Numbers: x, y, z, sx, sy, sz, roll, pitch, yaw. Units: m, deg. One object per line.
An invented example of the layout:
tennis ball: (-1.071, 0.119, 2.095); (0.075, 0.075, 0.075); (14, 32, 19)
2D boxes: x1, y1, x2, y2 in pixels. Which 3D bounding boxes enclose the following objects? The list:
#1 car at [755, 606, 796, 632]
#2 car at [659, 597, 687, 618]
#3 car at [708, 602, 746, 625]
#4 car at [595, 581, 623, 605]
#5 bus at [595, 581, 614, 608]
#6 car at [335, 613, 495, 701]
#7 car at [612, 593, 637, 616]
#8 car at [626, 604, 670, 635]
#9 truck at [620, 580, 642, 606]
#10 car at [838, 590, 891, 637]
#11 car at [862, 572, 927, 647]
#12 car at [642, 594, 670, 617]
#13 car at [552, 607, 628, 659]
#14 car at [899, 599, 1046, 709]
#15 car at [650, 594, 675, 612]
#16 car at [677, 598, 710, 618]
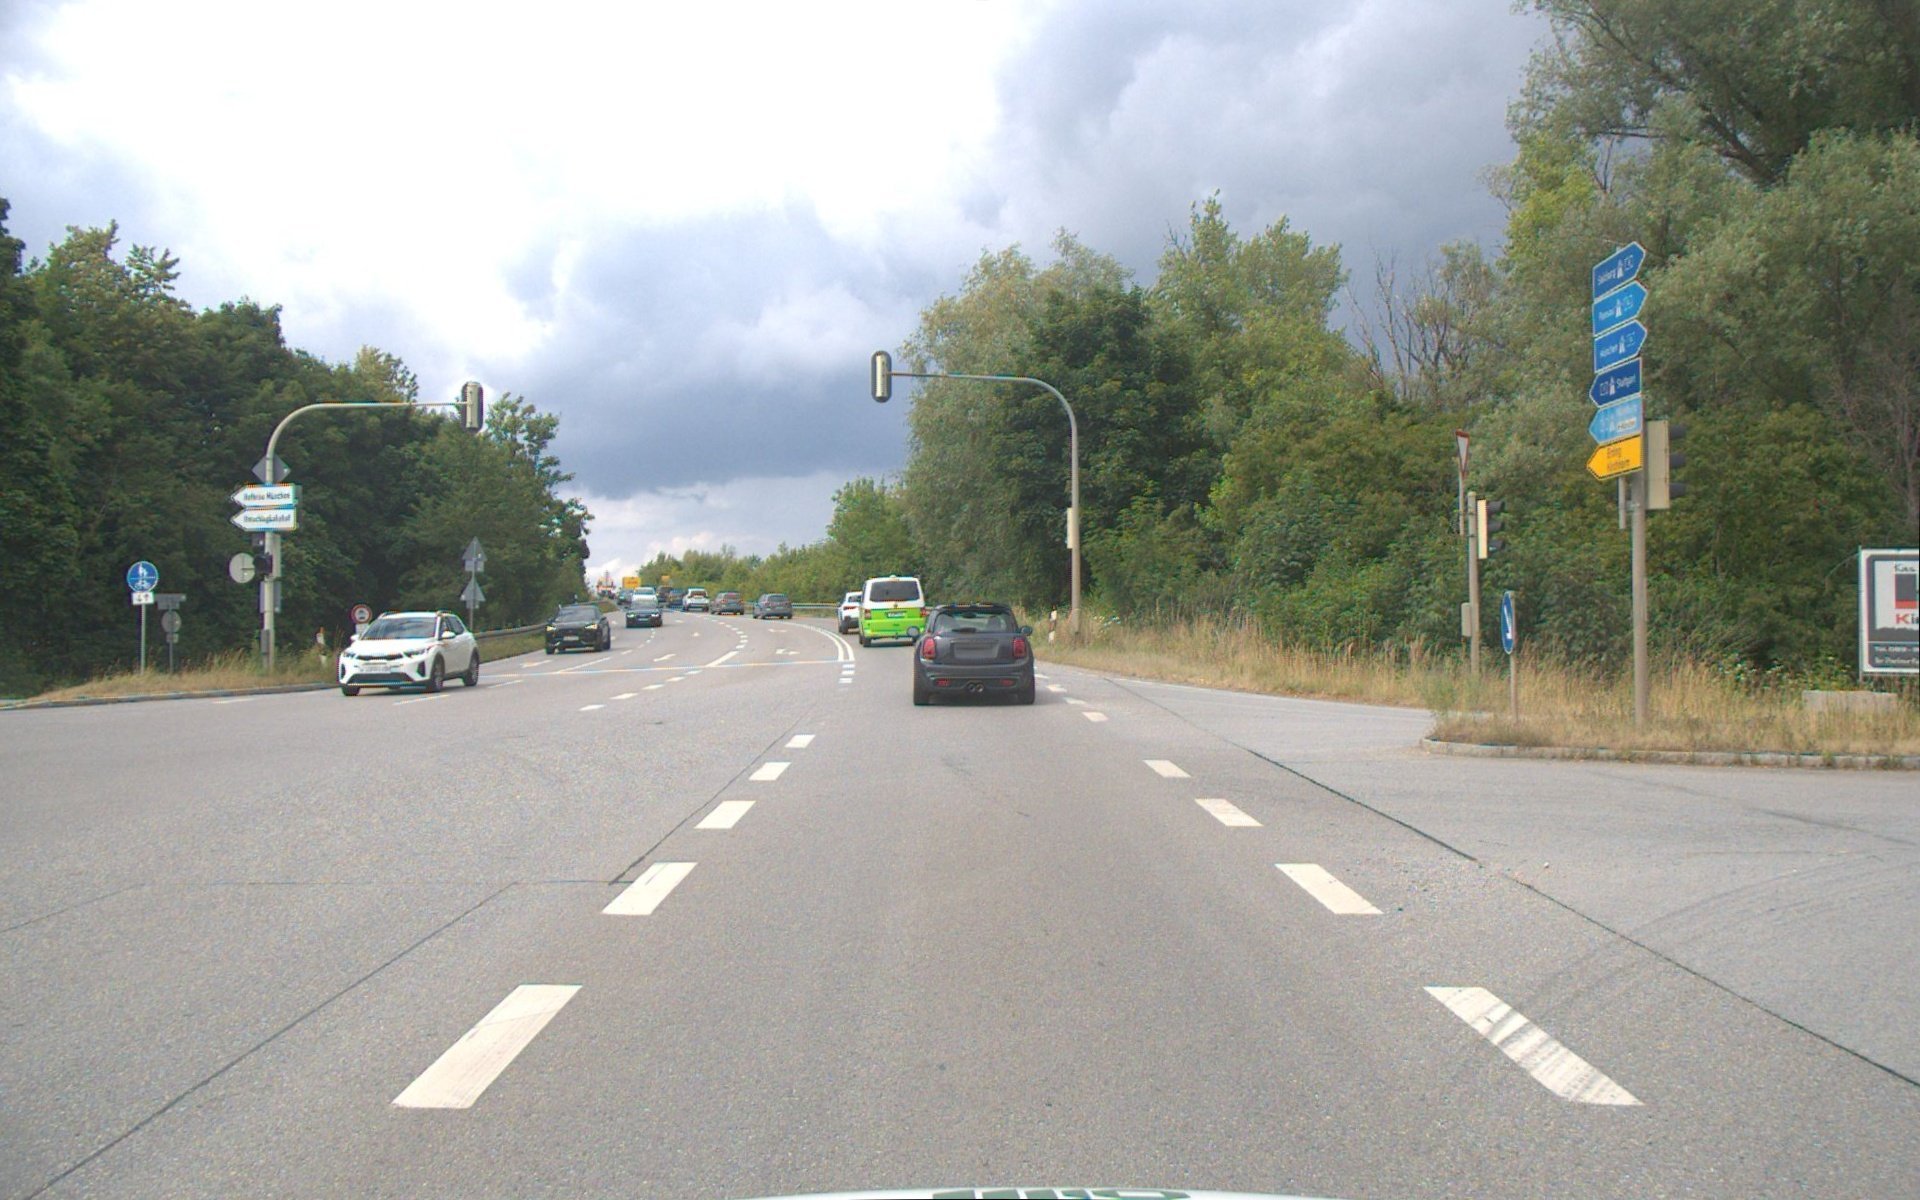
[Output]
car: (-10.763, 1.118, 96.340); (1.959, 1.502, 4.471); (0, -1, -12)
car: (-25.078, 0.668, 144.402); (1.961, 1.725, 4.466); (0, -1, -16)
car: (-15.867, 0.940, 112.589); (1.962, 1.502, 4.465); (0, -1, -17)
car: (-26.102, -0.550, 122.947); (1.959, 1.720, 3.986); (-1, 0, -13)
bus: (-44.176, -0.706, 205.589); (1.961, 3.360, 7.398); (-1, 0, -15)
car: (-10.336, 1.033, 31.701); (1.694, 1.531, 4.345); (-1, 0, -1)
car: (-30.579, 0.395, 150.663); (1.960, 2.049, 3.984); (1, 0, -15)
car: (-16.320, 1.015, 86.755); (1.704, 1.430, 4.247); (-5, 1, -5)
truck: (-42.575, -0.896, 214.266); (2.668, 2.949, 8.744); (1, -3, -11)
car: (-3.684, 0.504, 63.298); (1.954, 1.713, 3.996); (-1, -1, -4)
car: (-1.934, 0.232, 48.423); (1.808, 2.021, 3.840); (0, 2, -3)
car: (-22.637, 0.390, 123.316); (1.957, 1.641, 3.991); (-1, 0, -10)
car: (-12.381, 1.078, 55.615); (1.727, 1.610, 4.200); (-3, 0, -3)
car: (0.098, 0.743, 24.257); (1.809, 1.453, 3.837); (-1, -1, -5)
car: (-28.771, 0.315, 159.908); (1.961, 1.725, 4.466); (0, -1, -16)
car: (-20.493, 0.615, 126.962); (1.962, 1.502, 4.465); (0, -1, -17)
